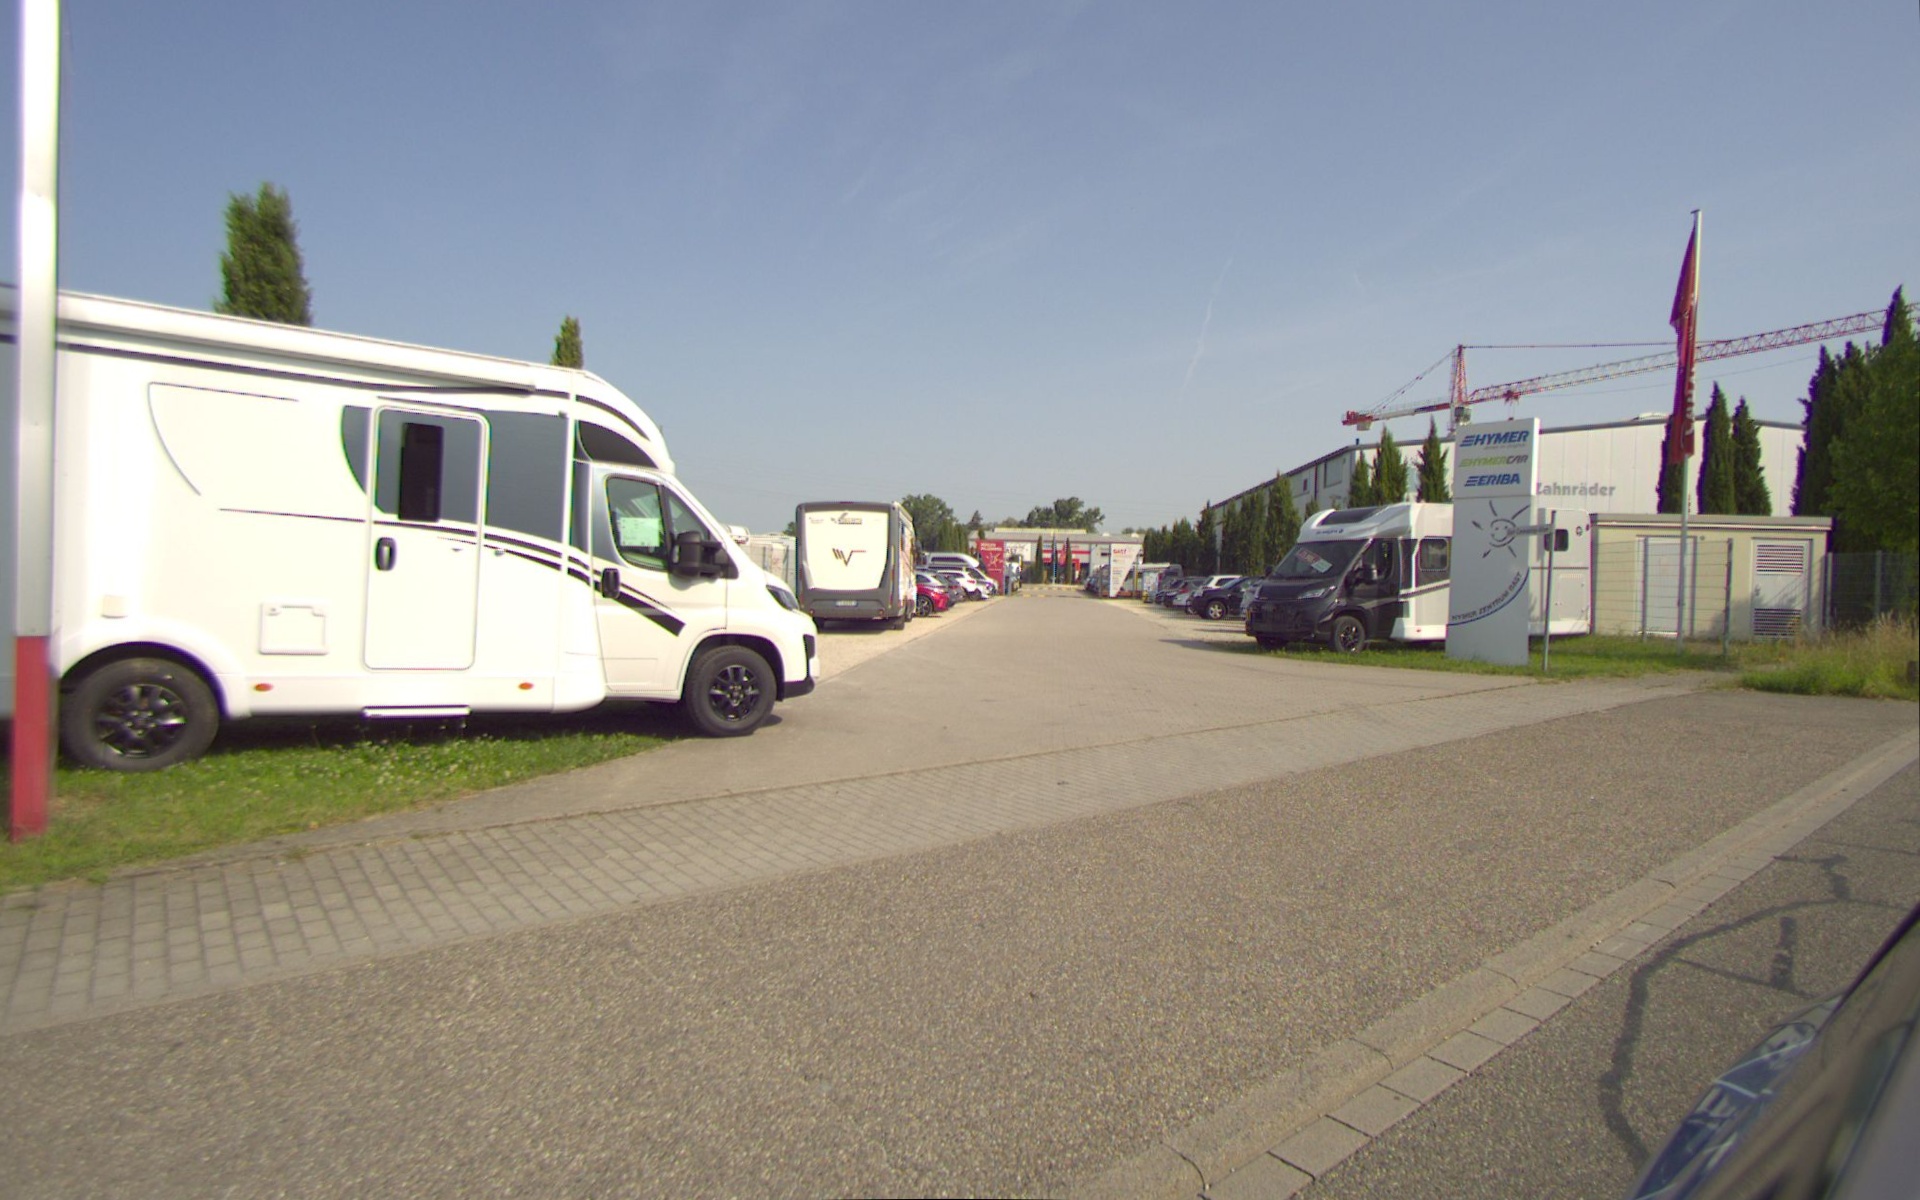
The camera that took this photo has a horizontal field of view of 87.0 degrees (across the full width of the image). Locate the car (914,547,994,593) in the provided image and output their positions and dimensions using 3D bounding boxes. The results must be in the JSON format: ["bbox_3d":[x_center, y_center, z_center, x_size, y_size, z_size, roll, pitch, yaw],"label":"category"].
[{"bbox_3d":[-0.348,-1.818,61.112,4.624,2.631,1.710,1,1,11],"label":"car"}]

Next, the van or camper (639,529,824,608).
[{"bbox_3d":[-8.606,-1.194,38.542,6.491,2.899,2.326,1,1,4],"label":"van or camper"}]

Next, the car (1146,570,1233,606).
[{"bbox_3d":[11.575,-0.640,51.213,3.924,1.636,1.716,2,2,0],"label":"car"}]

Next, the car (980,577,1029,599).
[{"bbox_3d":[3.712,-1.000,83.942,3.883,1.689,1.537,1,-1,11],"label":"car"}]

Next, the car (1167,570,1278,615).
[{"bbox_3d":[10.550,-0.319,40.824,3.924,1.636,1.716,2,2,0],"label":"car"}]

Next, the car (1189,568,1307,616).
[{"bbox_3d":[10.898,-0.329,38.467,3.924,1.636,1.716,2,2,0],"label":"car"}]

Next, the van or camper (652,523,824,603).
[{"bbox_3d":[-9.051,-1.519,41.603,6.491,3.168,2.490,1,1,4],"label":"van or camper"}]

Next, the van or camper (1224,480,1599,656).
[{"bbox_3d":[8.640,-0.618,19.174,7.190,2.883,2.361,-1,1,-25],"label":"van or camper"}]

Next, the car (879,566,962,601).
[{"bbox_3d":[-1.881,-0.776,49.103,3.874,1.578,1.541,1,-1,3],"label":"car"}]

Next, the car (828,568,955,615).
[{"bbox_3d":[-2.141,-0.257,32.302,3.924,1.435,1.715,0,-1,0],"label":"car"}]

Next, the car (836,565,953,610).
[{"bbox_3d":[-2.230,-0.427,35.107,3.926,1.515,1.714,0,-1,3],"label":"car"}]

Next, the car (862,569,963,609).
[{"bbox_3d":[-1.879,-0.428,40.548,3.876,1.479,1.540,1,-1,5],"label":"car"}]

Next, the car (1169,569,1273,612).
[{"bbox_3d":[11.112,-0.407,43.321,3.924,1.636,1.716,2,2,0],"label":"car"}]

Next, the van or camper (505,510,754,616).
[{"bbox_3d":[-9.462,-1.070,29.343,6.491,2.899,2.326,1,1,4],"label":"van or camper"}]

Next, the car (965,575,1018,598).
[{"bbox_3d":[2.448,-1.061,77.956,3.883,1.689,1.537,1,-1,11],"label":"car"}]

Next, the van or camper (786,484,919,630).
[{"bbox_3d":[-2.434,-0.996,25.224,2.536,3.069,7.284,1,1,0],"label":"van or camper"}]

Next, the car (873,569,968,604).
[{"bbox_3d":[-1.656,-0.581,43.130,3.874,1.390,1.541,1,-1,4],"label":"car"}]

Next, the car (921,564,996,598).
[{"bbox_3d":[-0.055,-1.017,54.130,3.876,1.691,1.540,1,-1,5],"label":"car"}]

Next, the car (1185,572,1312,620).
[{"bbox_3d":[10.110,-0.170,35.641,3.924,1.498,1.716,2,2,0],"label":"car"}]

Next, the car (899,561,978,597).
[{"bbox_3d":[-1.068,-1.060,51.632,3.876,1.691,1.540,1,-1,5],"label":"car"}]

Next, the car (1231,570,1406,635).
[{"bbox_3d":[9.390,0.036,26.731,3.924,1.498,1.716,2,2,0],"label":"car"}]

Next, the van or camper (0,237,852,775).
[{"bbox_3d":[-4.426,-0.535,7.543,6.833,2.980,2.340,1,1,-32],"label":"van or camper"}]

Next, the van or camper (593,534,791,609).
[{"bbox_3d":[-9.488,-1.029,36.172,6.491,2.556,2.223,1,1,4],"label":"van or camper"}]

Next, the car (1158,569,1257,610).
[{"bbox_3d":[11.110,-0.497,45.572,3.924,1.636,1.716,2,2,0],"label":"car"}]

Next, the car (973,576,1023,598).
[{"bbox_3d":[3.077,-1.027,81.638,3.883,1.689,1.537,1,-1,11],"label":"car"}]

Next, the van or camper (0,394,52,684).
[{"bbox_3d":[-11.896,-0.637,8.617,6.511,2.591,2.487,2,1,6],"label":"van or camper"}]

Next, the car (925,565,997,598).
[{"bbox_3d":[0.070,-1.029,56.738,3.876,1.691,1.540,1,-1,5],"label":"car"}]

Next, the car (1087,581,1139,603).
[{"bbox_3d":[12.615,-0.649,83.589,3.924,1.636,1.716,2,2,0],"label":"car"}]

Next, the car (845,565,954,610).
[{"bbox_3d":[-2.210,-0.455,37.826,3.875,1.612,1.713,0,-1,5],"label":"car"}]

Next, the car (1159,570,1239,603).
[{"bbox_3d":[13.185,-0.775,55.924,3.924,1.636,1.716,2,2,0],"label":"car"}]
